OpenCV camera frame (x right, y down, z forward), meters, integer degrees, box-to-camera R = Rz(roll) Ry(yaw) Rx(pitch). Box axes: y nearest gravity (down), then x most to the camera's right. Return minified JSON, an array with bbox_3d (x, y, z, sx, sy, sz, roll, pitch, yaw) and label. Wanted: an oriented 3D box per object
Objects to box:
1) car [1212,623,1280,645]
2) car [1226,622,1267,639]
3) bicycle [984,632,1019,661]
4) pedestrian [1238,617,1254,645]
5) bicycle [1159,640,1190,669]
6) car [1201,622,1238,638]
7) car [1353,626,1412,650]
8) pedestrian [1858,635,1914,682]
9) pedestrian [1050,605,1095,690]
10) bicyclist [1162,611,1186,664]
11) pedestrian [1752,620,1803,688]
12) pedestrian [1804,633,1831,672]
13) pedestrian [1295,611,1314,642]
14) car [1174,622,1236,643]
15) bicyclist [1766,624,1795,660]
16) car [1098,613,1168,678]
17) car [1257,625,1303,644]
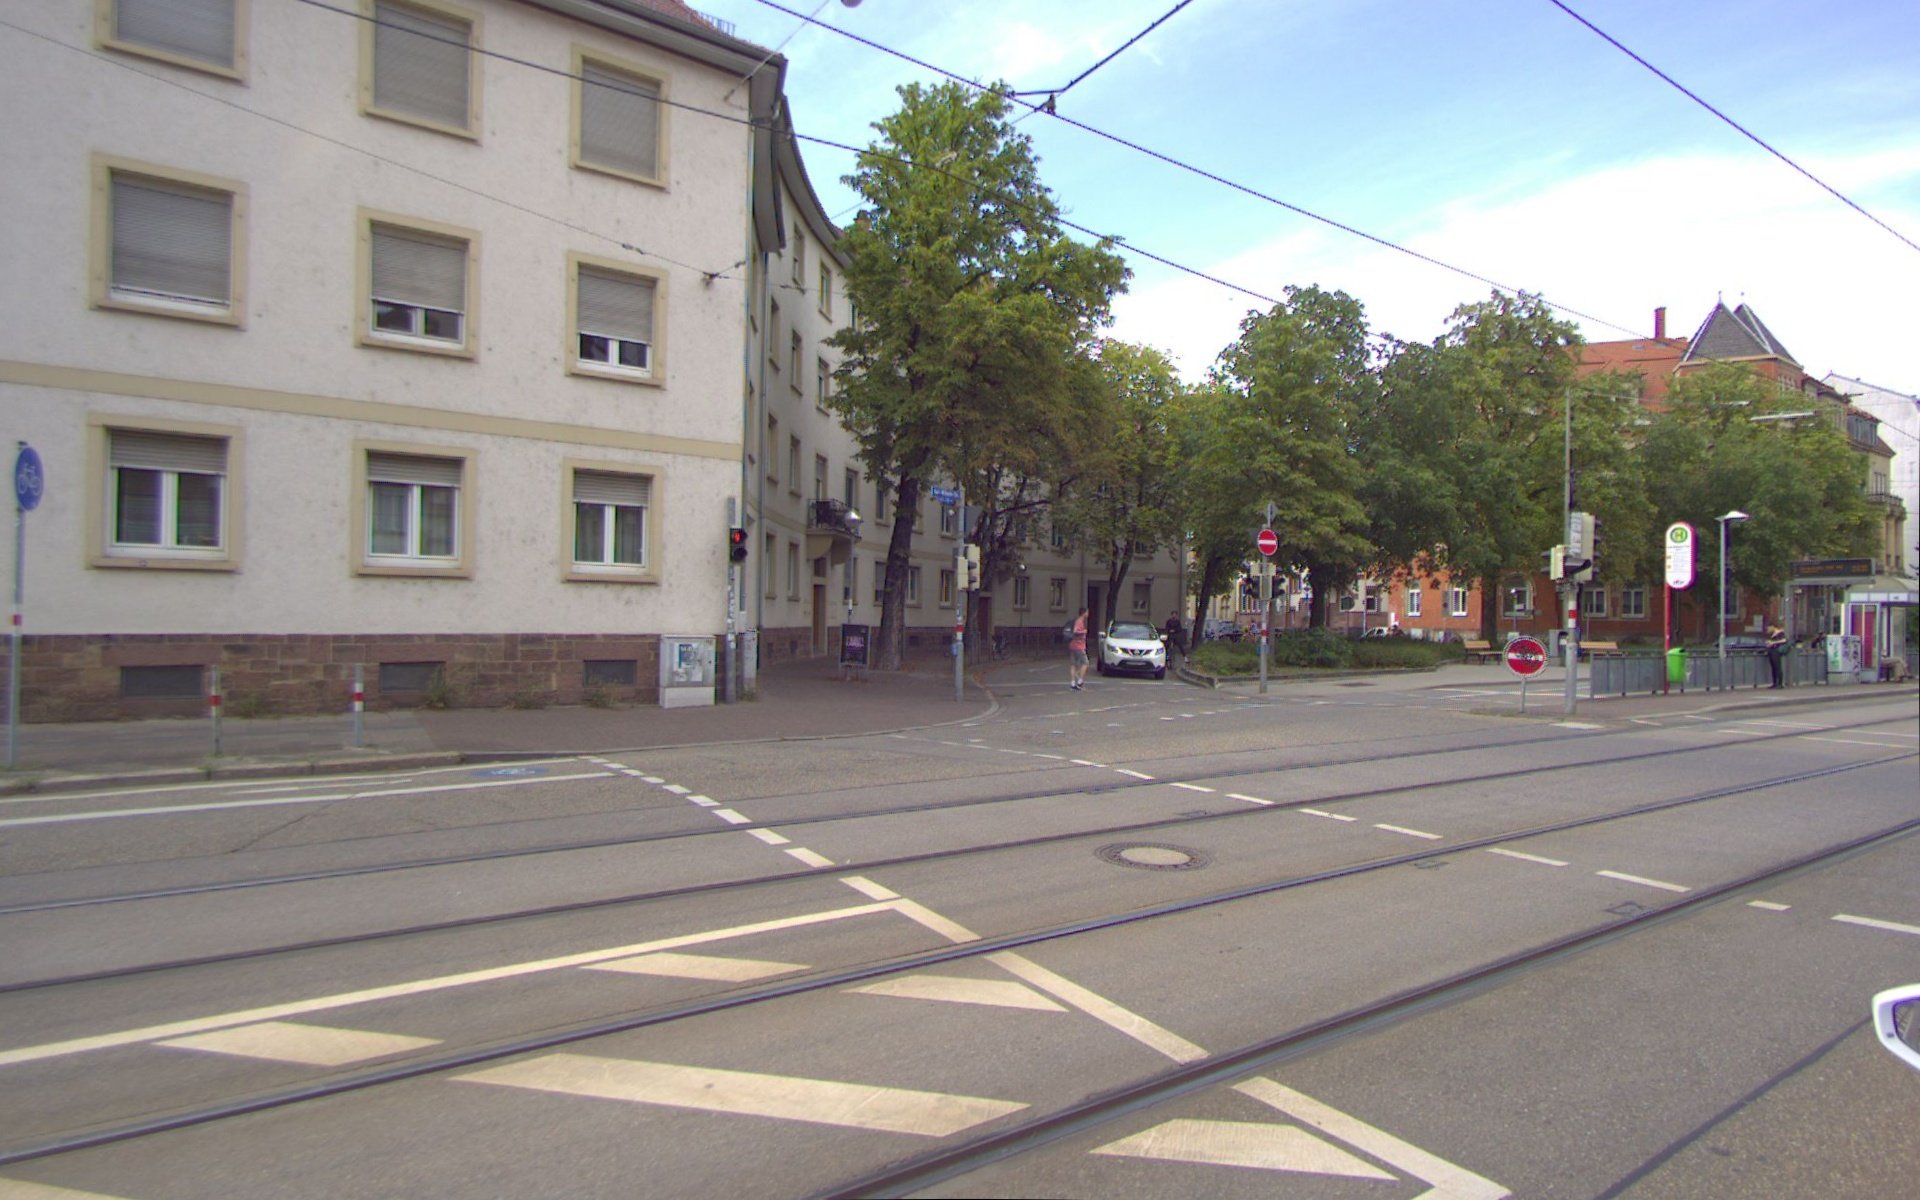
[{"bbox_3d":[19.040,2.282,66.947,3.930,1.414,1.812,1,-1,-12],"label":"car"},{"bbox_3d":[24.276,2.587,85.329,1.783,1.414,3.993,1,-1,-10],"label":"car"},{"bbox_3d":[1.545,1.690,36.930,0.486,1.022,1.836,0,-1,30],"label":"bicycle"},{"bbox_3d":[18.128,1.945,63.633,0.671,1.777,0.731,1,-1,-12],"label":"pedestrian"},{"bbox_3d":[7.406,1.853,34.635,0.597,0.949,1.574,0,-1,29],"label":"bicycle"},{"bbox_3d":[23.280,2.702,90.248,1.783,1.414,3.993,1,-1,-10],"label":"car"},{"bbox_3d":[28.132,2.508,66.991,1.783,1.497,3.993,1,-1,-10],"label":"car"},{"bbox_3d":[26.893,1.672,29.175,0.977,1.311,1.050,2,-1,-38],"label":"pedestrian"},{"bbox_3d":[2.591,1.090,23.269,0.821,1.926,0.730,1,-1,-15],"label":"pedestrian"},{"bbox_3d":[7.369,1.280,34.565,0.601,1.799,0.909,0,-1,29],"label":"bicyclist"},{"bbox_3d":[20.267,1.324,24.901,0.836,1.642,0.845,2,-1,-39],"label":"pedestrian"},{"bbox_3d":[38.887,2.354,45.536,0.726,1.725,0.826,1,-1,-38],"label":"pedestrian"},{"bbox_3d":[19.842,1.523,57.892,0.720,1.777,0.751,1,-1,-15],"label":"pedestrian"},{"bbox_3d":[17.478,2.305,71.626,3.930,1.414,1.812,1,-1,-12],"label":"car"},{"bbox_3d":[32.061,1.636,39.262,0.827,1.357,0.657,1,-1,-33],"label":"bicyclist"},{"bbox_3d":[5.094,1.375,30.020,1.804,1.743,4.163,2,-3,7],"label":"car"},{"bbox_3d":[25.409,2.756,79.913,1.783,1.414,3.993,1,-1,-10],"label":"car"}]
